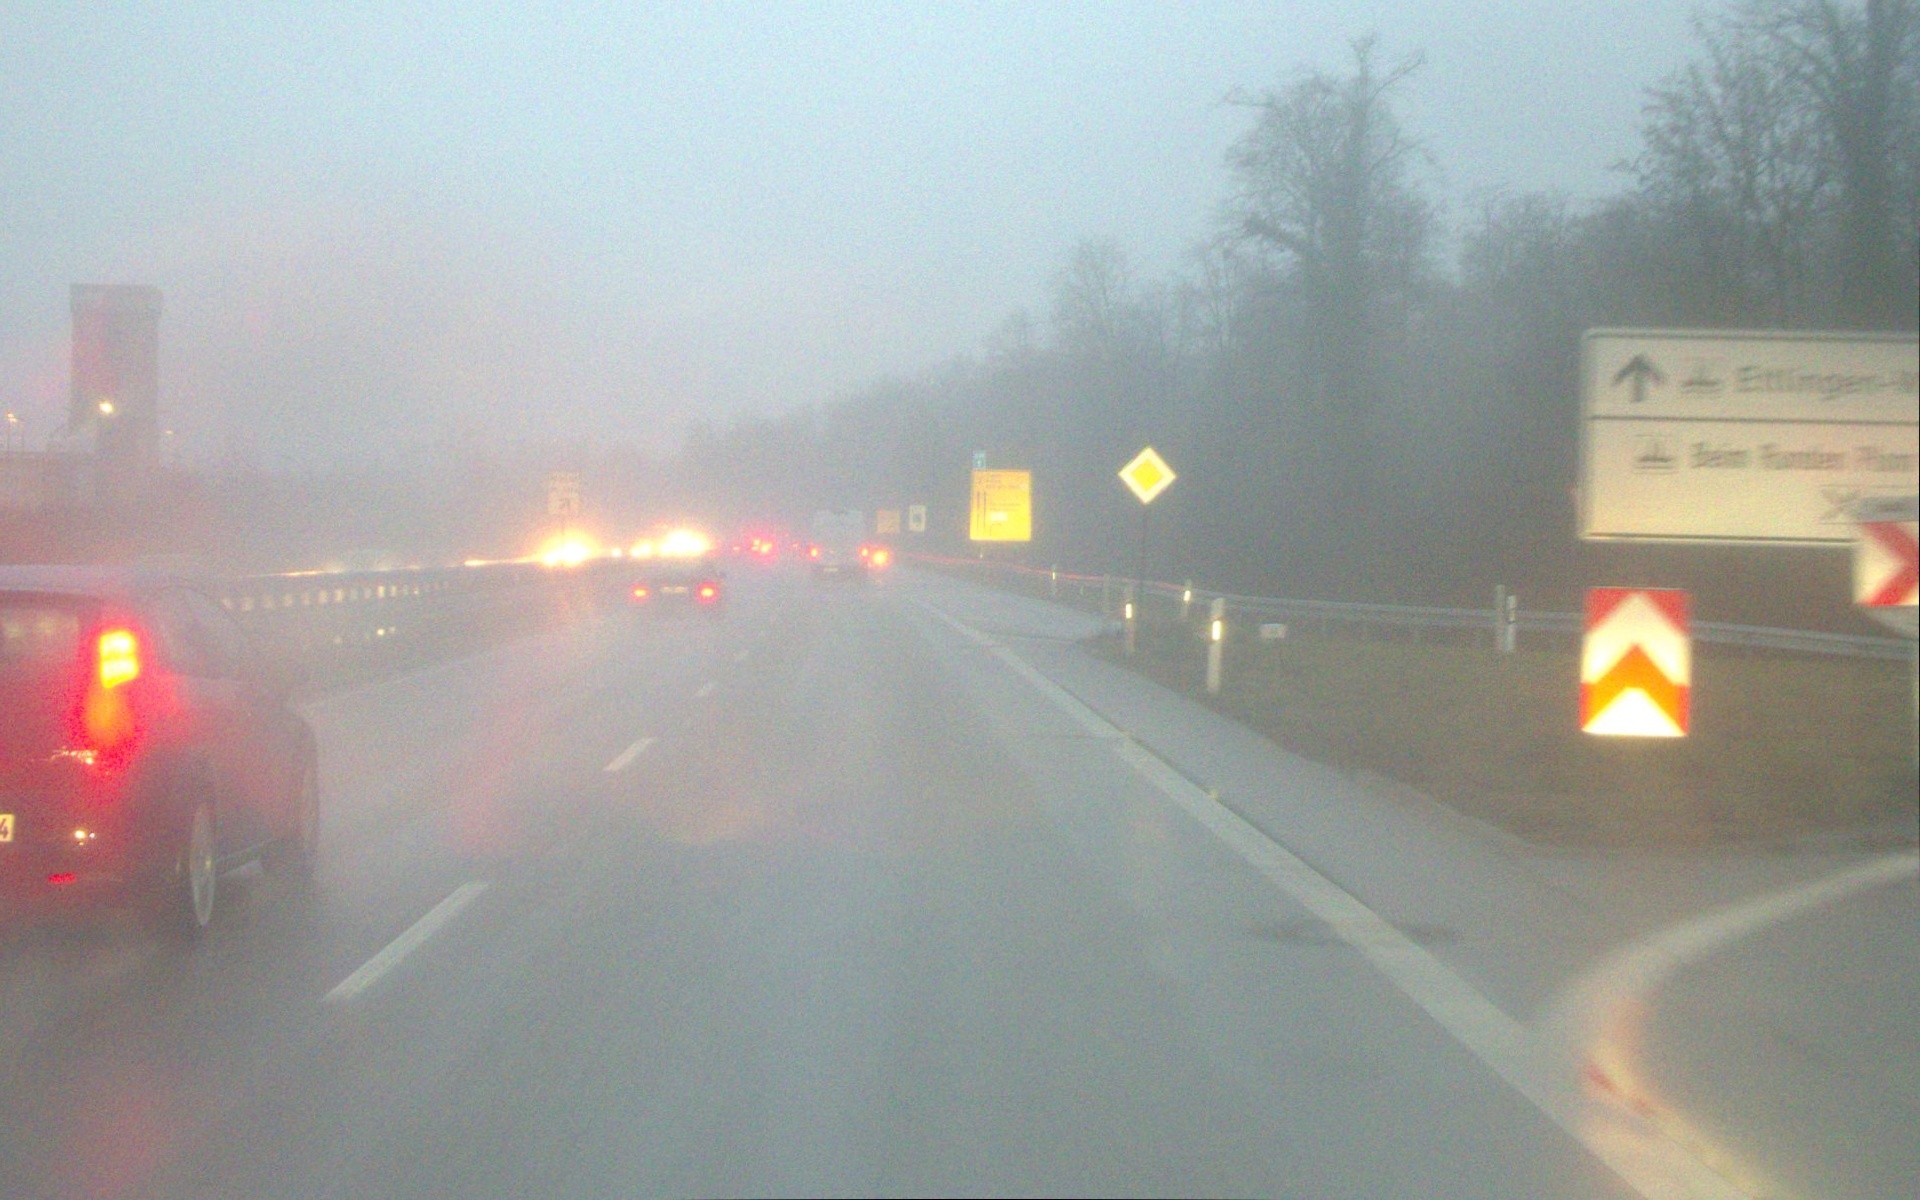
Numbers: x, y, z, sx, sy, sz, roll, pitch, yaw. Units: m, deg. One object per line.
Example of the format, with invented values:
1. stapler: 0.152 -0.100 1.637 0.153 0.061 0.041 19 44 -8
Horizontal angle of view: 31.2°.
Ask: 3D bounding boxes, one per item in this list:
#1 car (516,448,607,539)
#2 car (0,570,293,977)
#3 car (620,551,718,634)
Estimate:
1. car: -9.745 -2.578 84.076 2.122 2.113 3.576 1 0 -7
2. car: -3.903 0.637 14.654 1.527 1.411 3.479 3 1 -3
3. car: -5.599 -0.178 66.535 1.775 1.529 4.703 -1 1 -4
